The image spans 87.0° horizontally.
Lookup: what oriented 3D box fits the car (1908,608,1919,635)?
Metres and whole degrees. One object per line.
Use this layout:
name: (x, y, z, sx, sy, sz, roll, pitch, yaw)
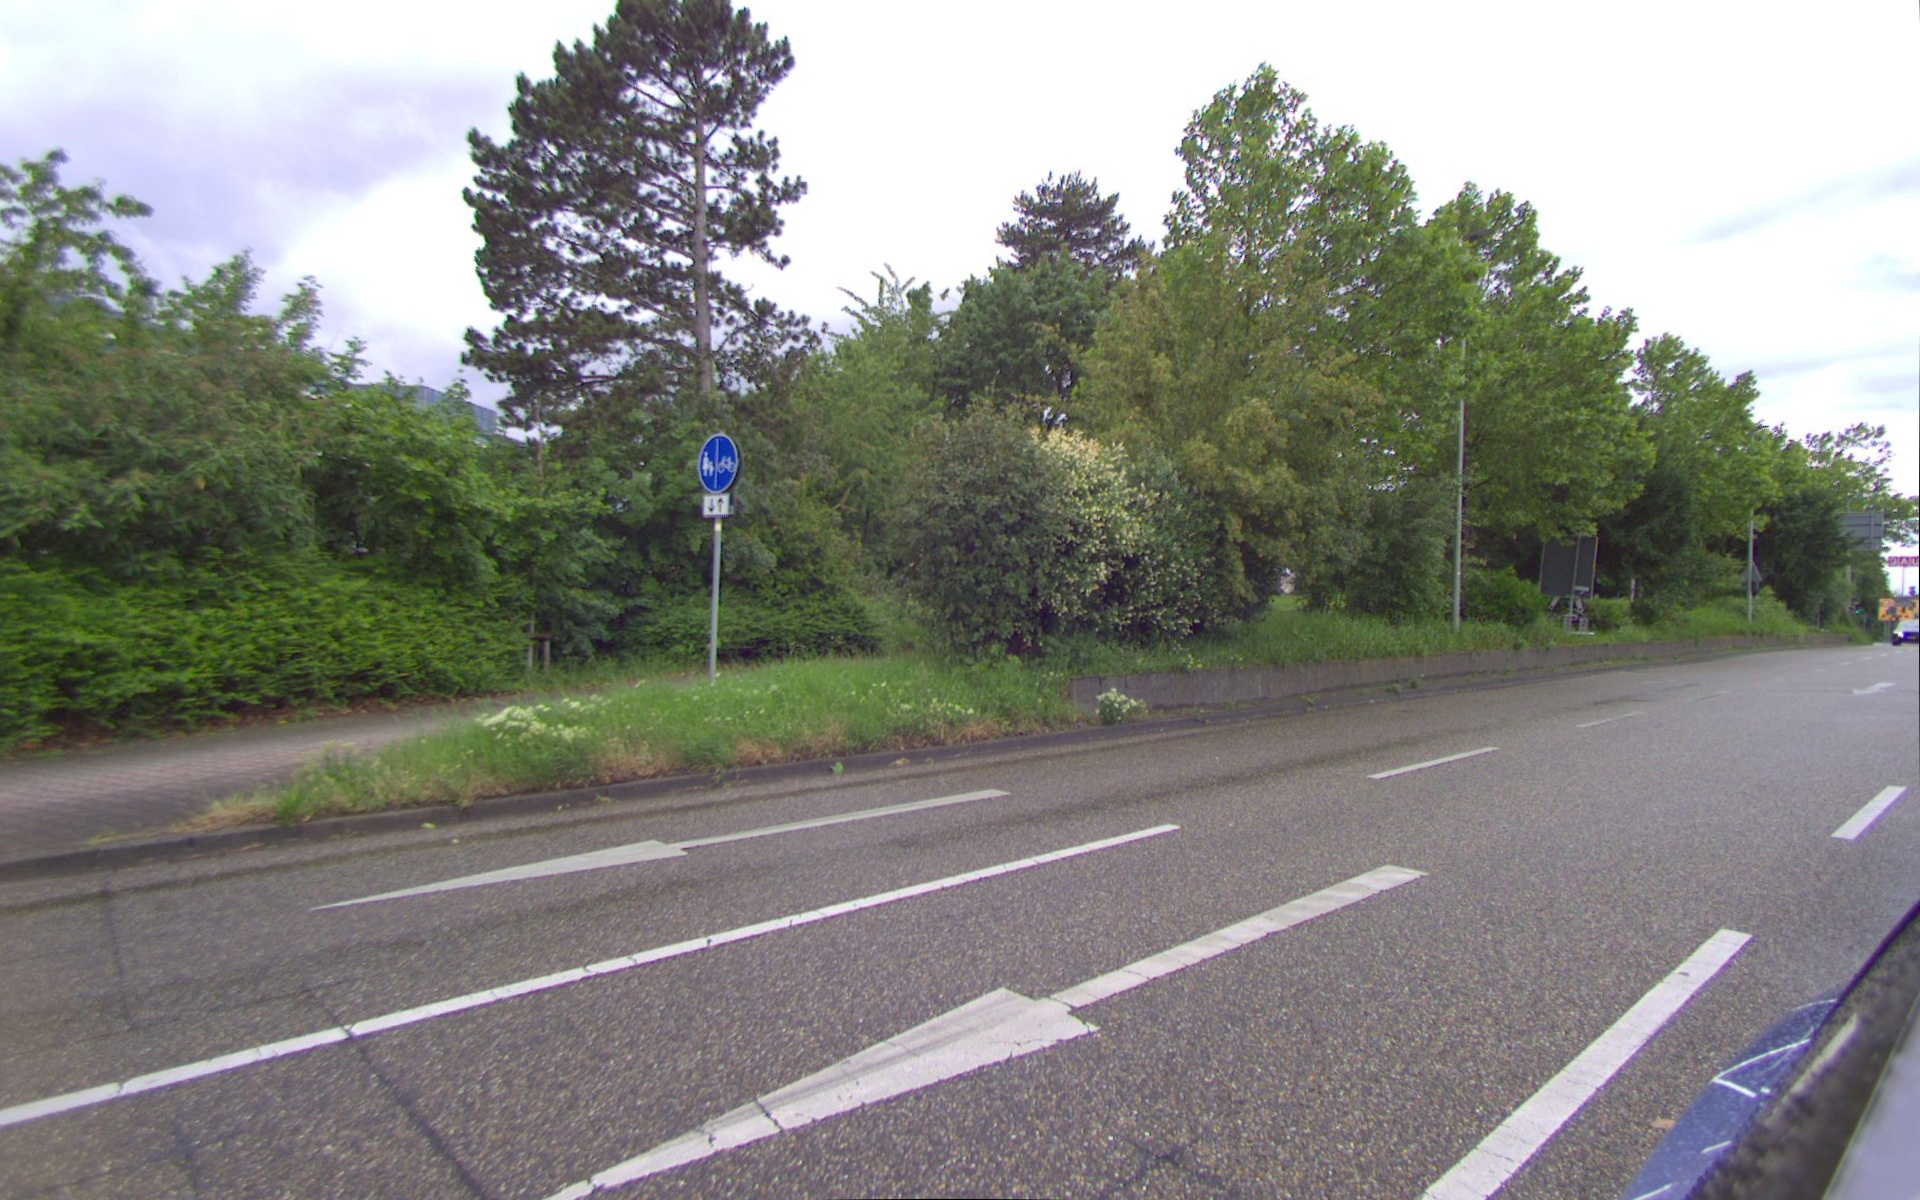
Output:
car: (61.383, 1.377, 64.161, 3.777, 1.643, 1.702, 3, -3, -44)
